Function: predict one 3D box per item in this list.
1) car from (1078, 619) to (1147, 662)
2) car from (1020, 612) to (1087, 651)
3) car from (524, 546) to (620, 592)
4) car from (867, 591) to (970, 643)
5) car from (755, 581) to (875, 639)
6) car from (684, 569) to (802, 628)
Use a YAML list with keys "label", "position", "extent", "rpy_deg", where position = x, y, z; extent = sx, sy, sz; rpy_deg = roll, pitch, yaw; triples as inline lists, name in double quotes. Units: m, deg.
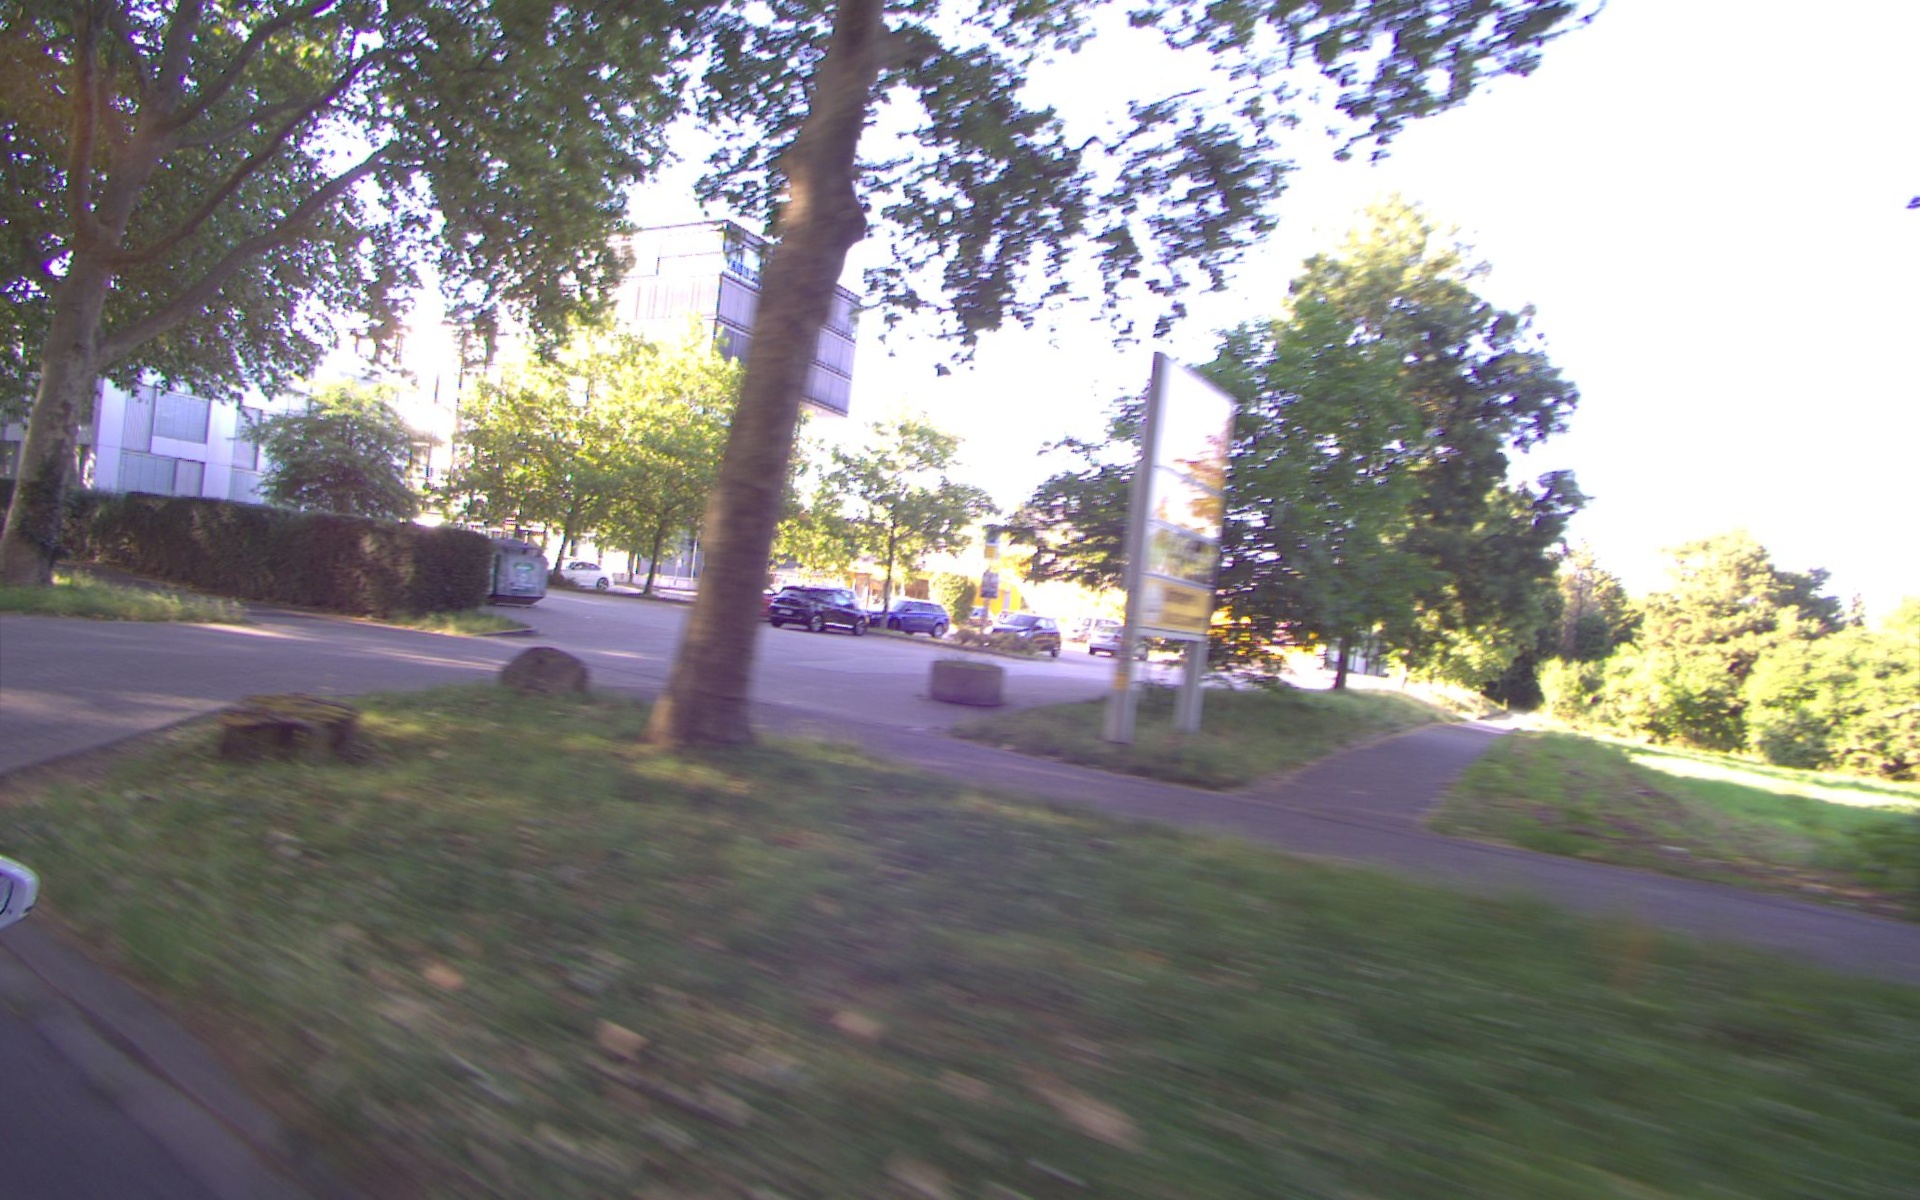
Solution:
- label: "car"
  position: [7.003, 1.871, 45.883]
  extent: [1.831, 1.585, 3.998]
  rpy_deg: [7, -1, 27]
- label: "car"
  position: [4.880, 1.634, 51.876]
  extent: [1.832, 1.585, 3.995]
  rpy_deg: [7, -1, 29]
- label: "car"
  position: [-19.400, -1.526, 50.448]
  extent: [1.968, 1.794, 3.989]
  rpy_deg: [7, 0, 34]
- label: "car"
  position: [-1.612, 0.701, 40.213]
  extent: [1.836, 1.585, 3.985]
  rpy_deg: [7, -1, 39]
- label: "car"
  position: [-4.680, 0.375, 33.101]
  extent: [1.831, 1.458, 3.998]
  rpy_deg: [7, -1, 27]
- label: "car"
  position: [-7.529, -0.017, 35.309]
  extent: [1.831, 1.585, 3.998]
  rpy_deg: [7, -1, 27]
